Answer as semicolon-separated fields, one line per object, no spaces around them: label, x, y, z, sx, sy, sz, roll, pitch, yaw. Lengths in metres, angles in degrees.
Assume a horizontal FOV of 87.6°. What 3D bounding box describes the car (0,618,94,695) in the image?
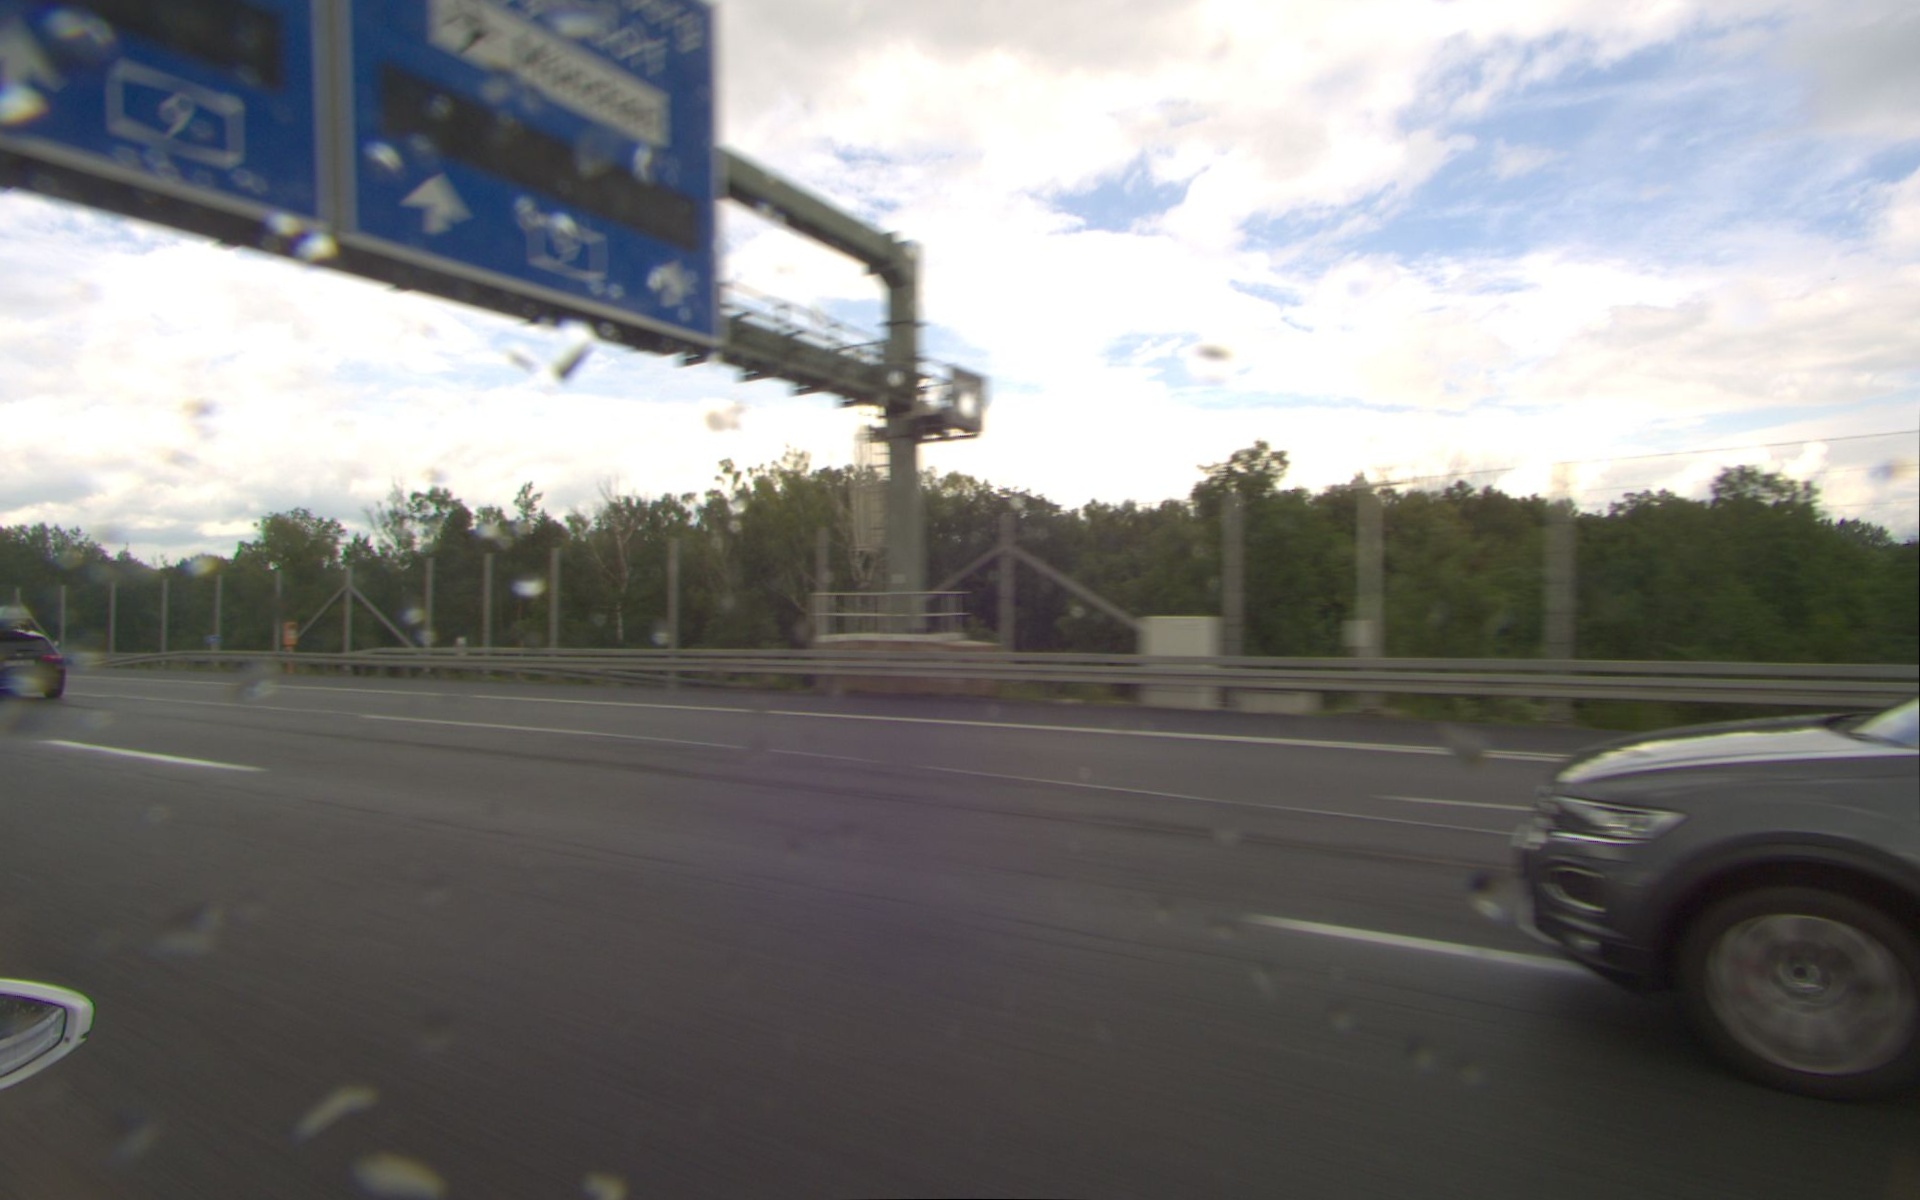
car;-21.967;1.258;22.966;4.999;1.626;2.098;-2;-1;36

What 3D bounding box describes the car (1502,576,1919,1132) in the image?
car;3.872;0.725;3.166;3.670;1.582;1.788;-1;-1;33
